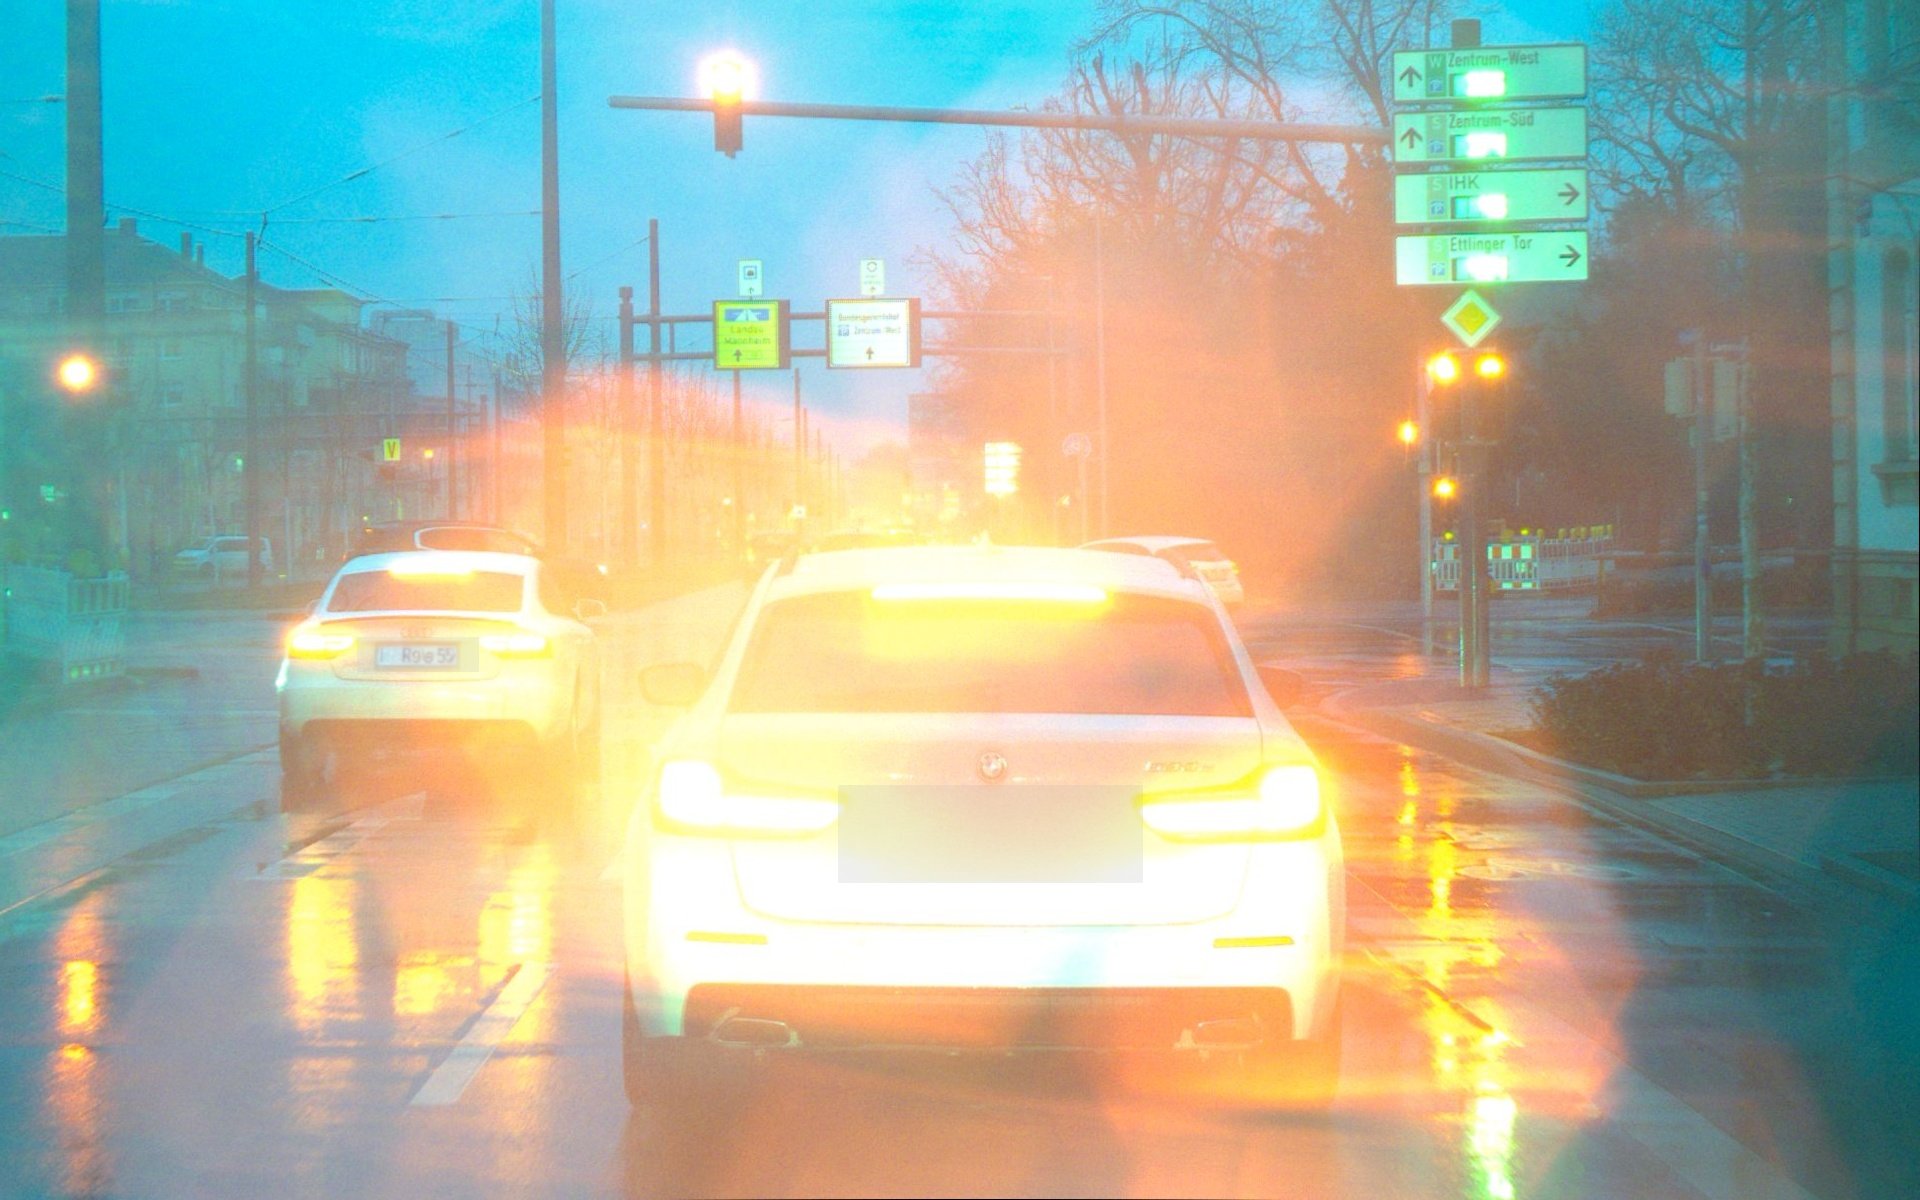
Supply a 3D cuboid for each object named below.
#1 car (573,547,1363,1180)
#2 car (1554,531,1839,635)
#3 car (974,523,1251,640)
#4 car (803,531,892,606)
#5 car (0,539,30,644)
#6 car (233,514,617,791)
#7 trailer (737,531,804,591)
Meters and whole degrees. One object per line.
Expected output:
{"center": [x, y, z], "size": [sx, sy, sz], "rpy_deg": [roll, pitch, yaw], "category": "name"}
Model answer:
{"center": [-0.032, 0.581, 10.548], "size": [1.852, 1.460, 4.947], "rpy_deg": [0, 1, -1], "category": "car"}
{"center": [11.413, -0.279, 53.279], "size": [3.992, 1.555, 1.848], "rpy_deg": [0, 1, 26], "category": "car"}
{"center": [2.403, -0.315, 54.455], "size": [3.994, 1.791, 1.847], "rpy_deg": [1, 1, 33], "category": "car"}
{"center": [-2.504, -0.719, 77.119], "size": [1.901, 1.636, 4.000], "rpy_deg": [0, 1, -1], "category": "car"}
{"center": [-15.346, -0.050, 50.148], "size": [3.540, 1.487, 1.741], "rpy_deg": [-2, 2, 43], "category": "car"}
{"center": [-3.371, 0.274, 22.379], "size": [1.901, 1.636, 4.000], "rpy_deg": [0, 1, -1], "category": "car"}
{"center": [-5.247, -1.094, 95.303], "size": [1.834, 1.637, 4.001], "rpy_deg": [0, 1, -3], "category": "trailer"}
